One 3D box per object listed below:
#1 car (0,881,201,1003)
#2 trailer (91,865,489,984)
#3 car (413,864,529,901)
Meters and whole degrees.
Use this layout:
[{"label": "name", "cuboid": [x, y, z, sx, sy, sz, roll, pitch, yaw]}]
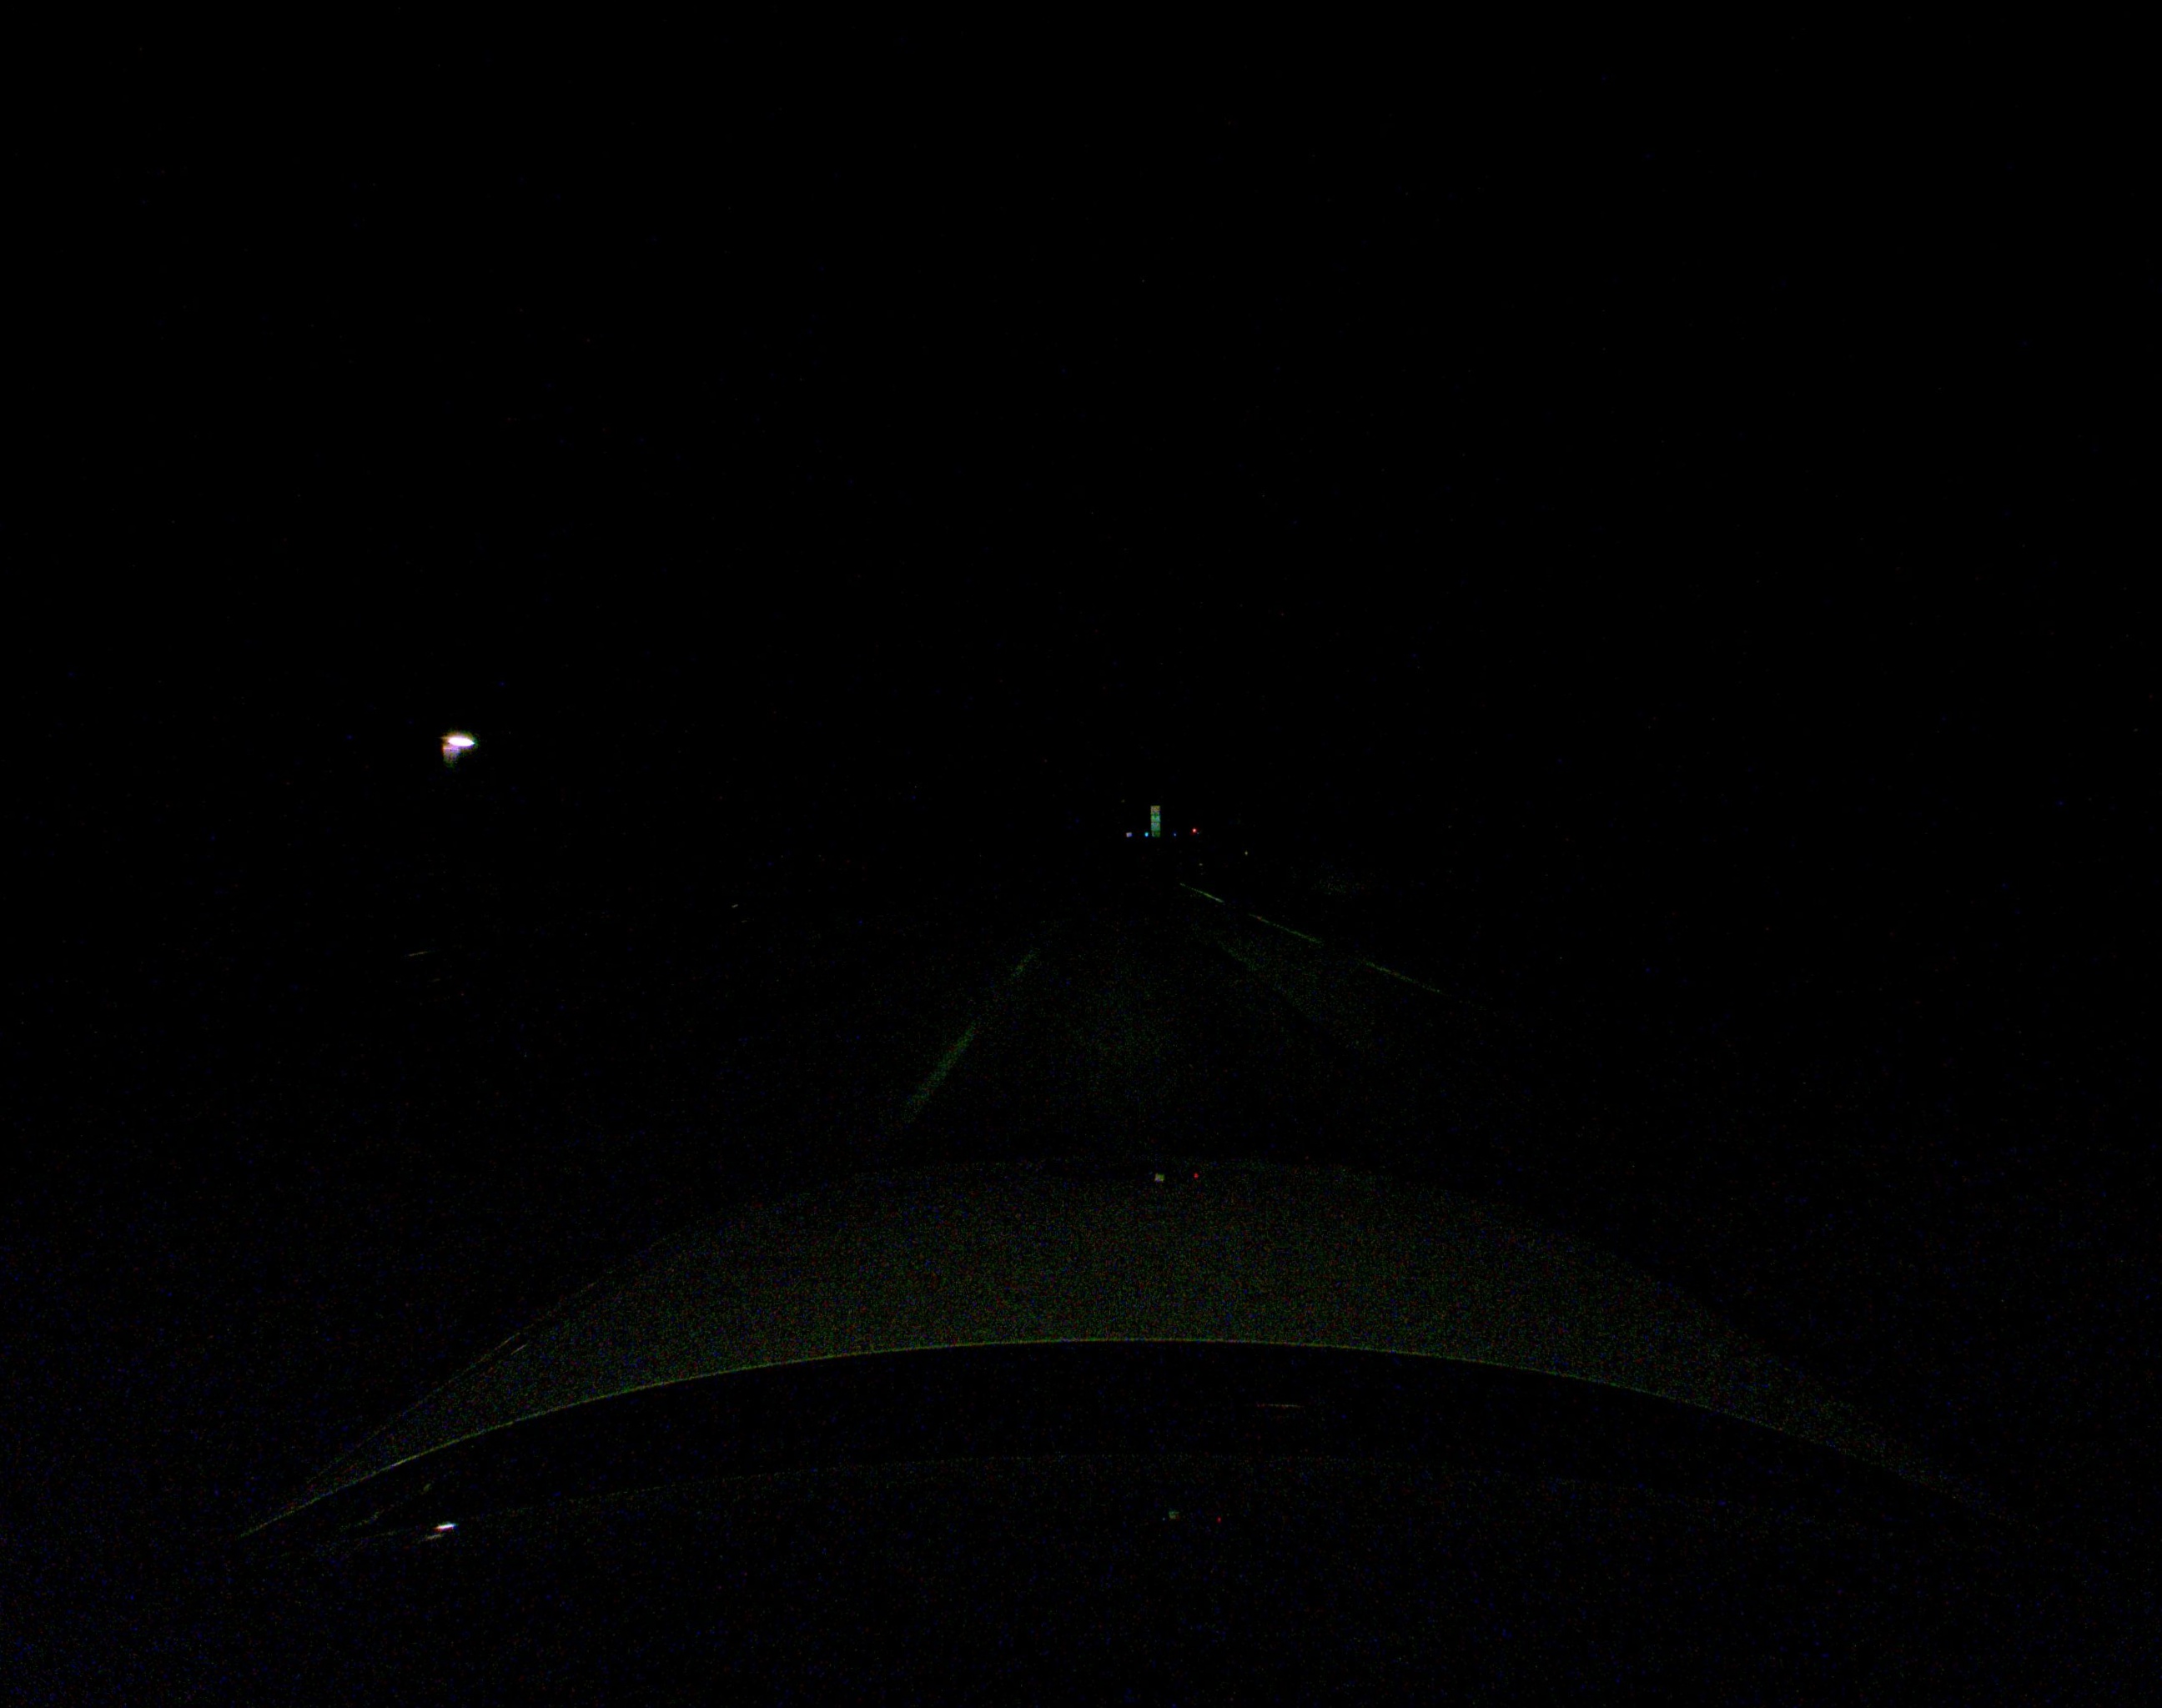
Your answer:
[{"label": "car", "cuboid": [-15.208, 1.261, 10.892, 1.710, 1.577, 4.538, -5, -1, 3]}, {"label": "trailer", "cuboid": [-14.884, 1.179, 16.028, 2.016, 1.781, 5.678, -4, -1, 3]}, {"label": "car", "cuboid": [-27.517, 1.265, 36.829, 3.969, 1.609, 1.759, 0, -1, 4]}]
